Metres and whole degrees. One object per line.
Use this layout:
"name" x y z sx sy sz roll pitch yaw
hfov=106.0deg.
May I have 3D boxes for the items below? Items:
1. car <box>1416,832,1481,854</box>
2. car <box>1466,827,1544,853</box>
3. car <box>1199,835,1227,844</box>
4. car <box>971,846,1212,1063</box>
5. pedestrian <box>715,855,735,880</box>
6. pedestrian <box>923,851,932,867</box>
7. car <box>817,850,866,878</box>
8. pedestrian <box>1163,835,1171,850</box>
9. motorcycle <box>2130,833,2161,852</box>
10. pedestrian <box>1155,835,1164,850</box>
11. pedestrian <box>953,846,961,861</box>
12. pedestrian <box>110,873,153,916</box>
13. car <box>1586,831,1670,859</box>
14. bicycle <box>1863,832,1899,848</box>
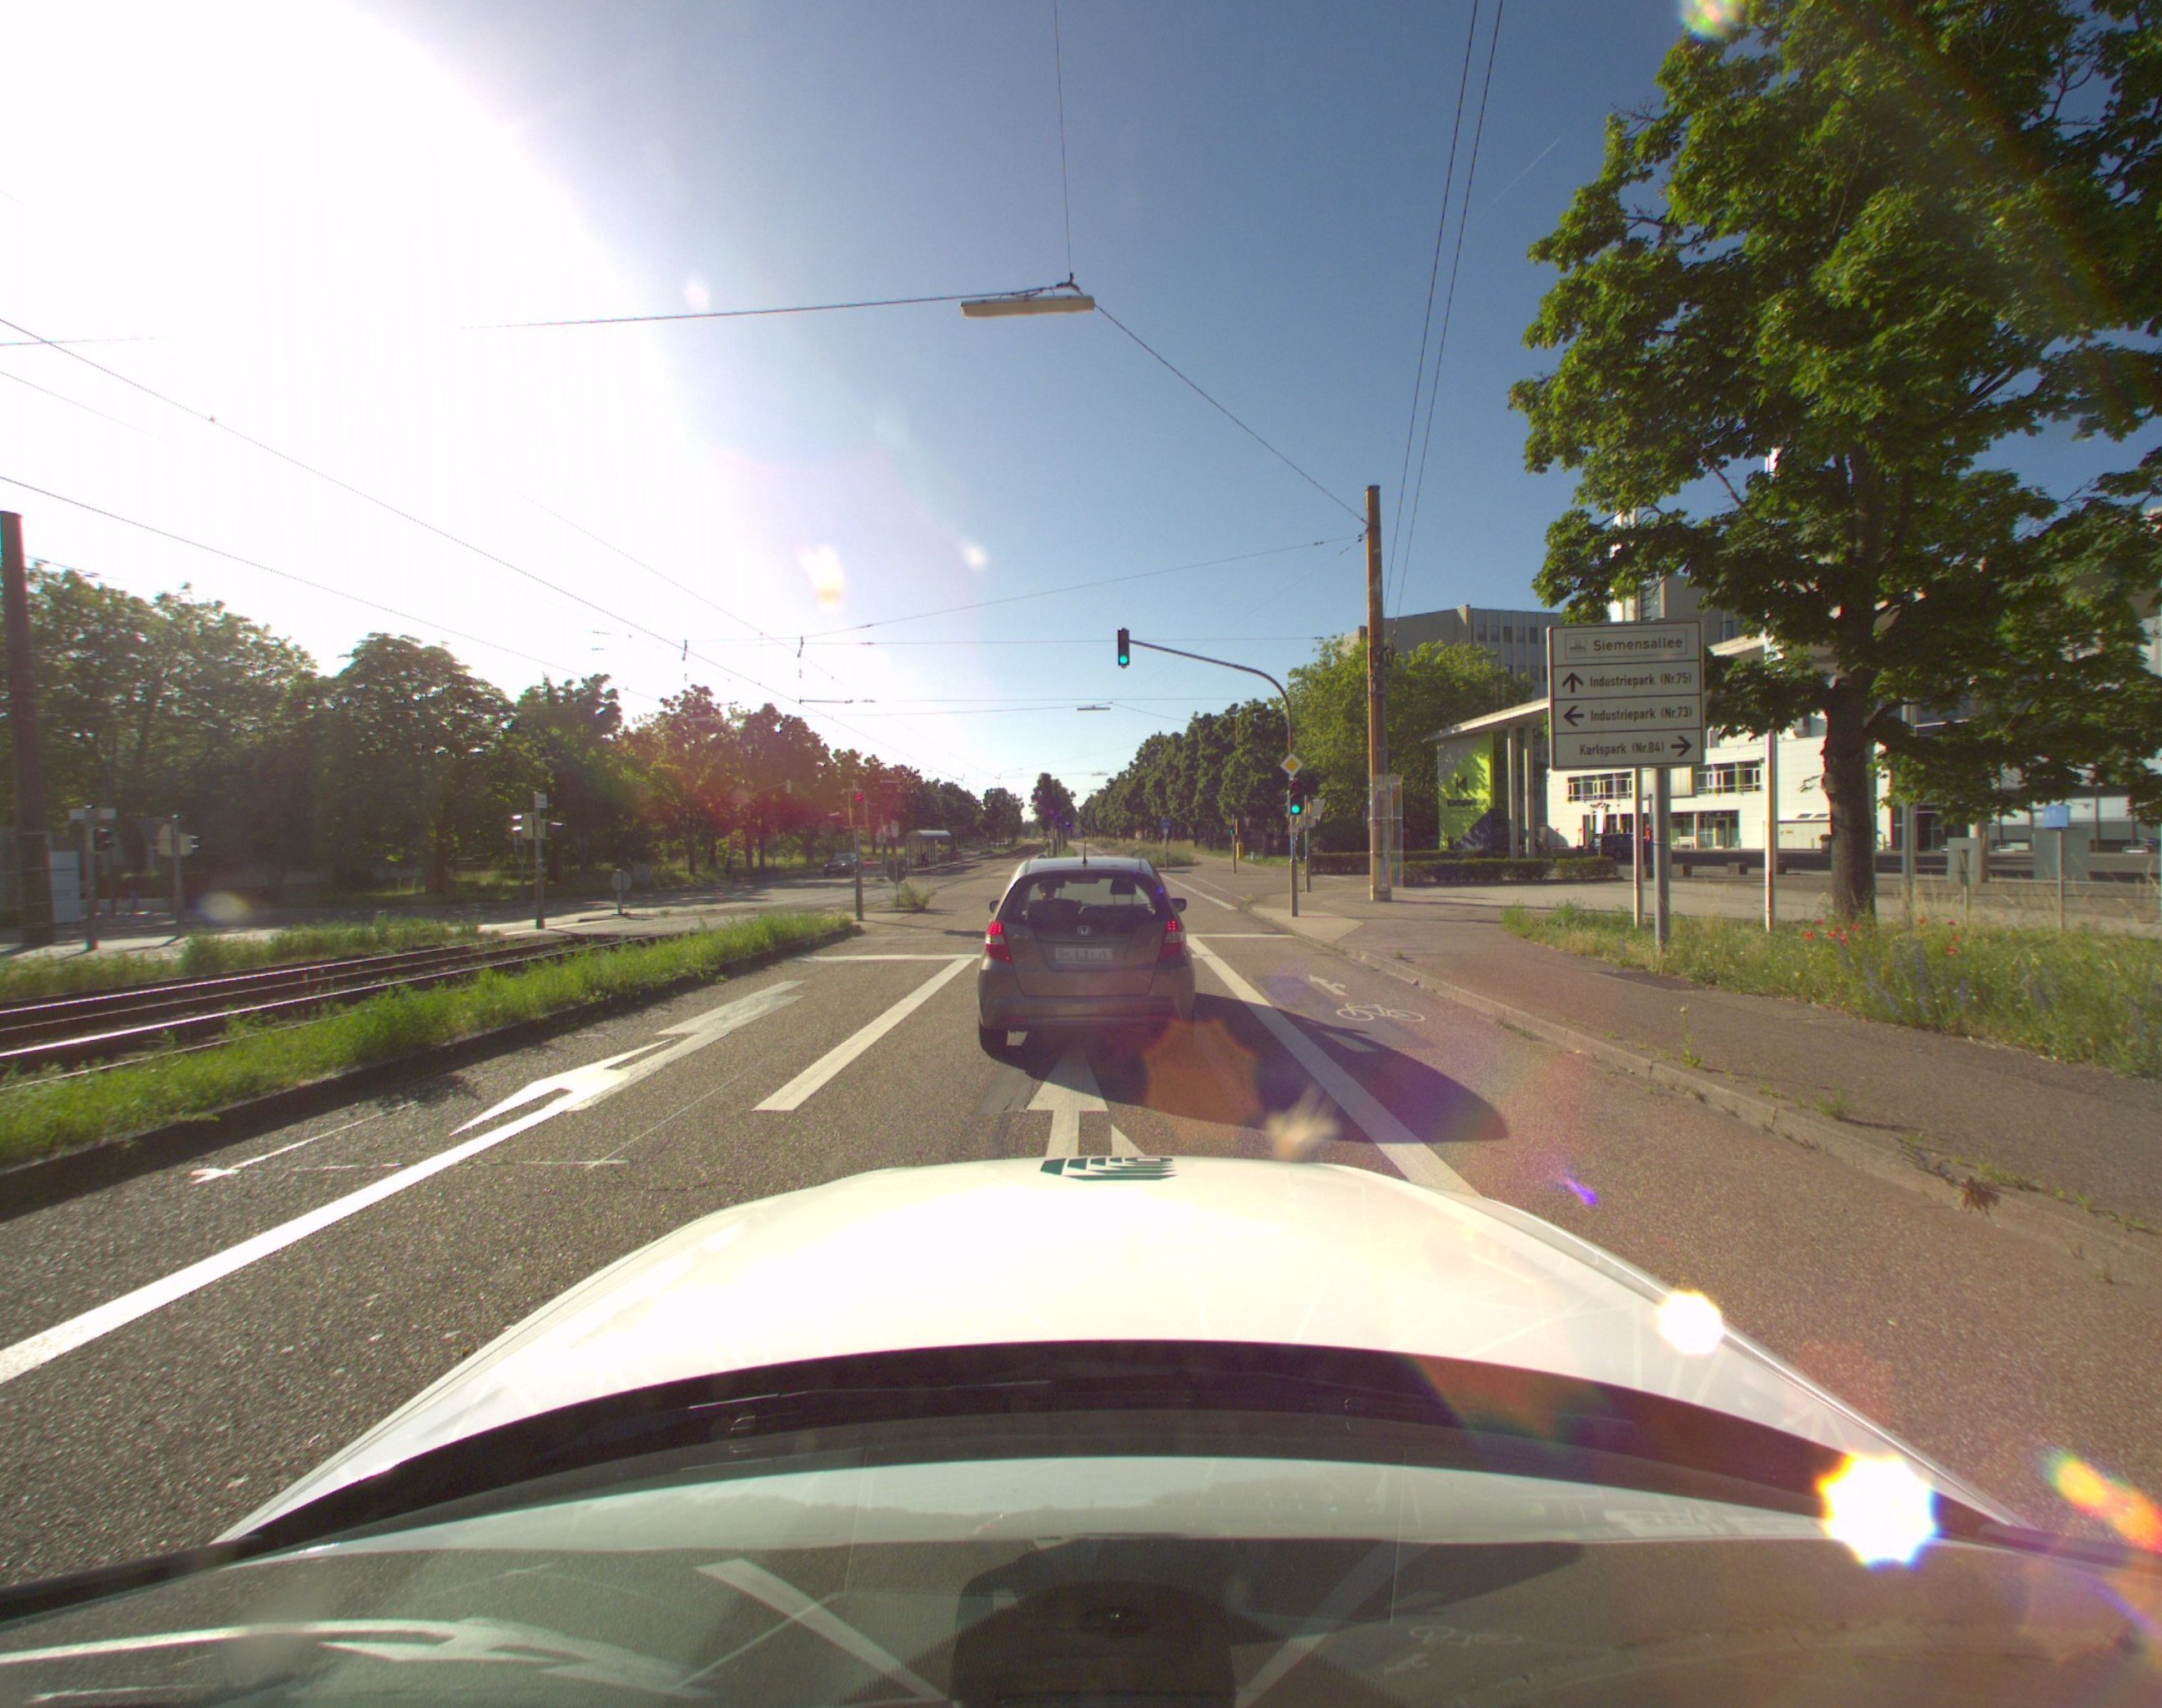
"car" 30.045 -0.922 66.664 4.448 1.686 1.892 -2 1 -4
"car" 31.107 -1.046 59.772 4.888 1.757 2.082 -2 1 -14
"car" 23.369 -2.545 144.246 4.623 1.555 1.997 -2 1 -5
"car" 0.131 0.717 7.640 1.694 1.524 3.711 -1 0 2
"pedestrian" -24.655 0.924 56.416 0.751 1.734 0.943 -1 1 30
"pedestrian" -12.445 0.382 66.010 0.562 1.257 0.581 -4 0 1
"car" -17.824 0.722 60.883 2.087 1.810 4.792 -3 1 0
"pedestrian" 10.835 -1.464 102.839 0.880 1.884 0.875 -2 1 -2
"motorcycle" 54.660 -0.585 41.257 0.652 0.947 1.727 -2 1 -13
"pedestrian" 9.899 -1.457 102.845 0.880 1.884 0.875 -2 1 -2
"pedestrian" -12.266 -0.045 80.579 0.542 1.447 0.559 -2 0 1
"pedestrian" -41.234 1.743 35.364 0.943 1.787 0.824 -2 1 15
"car" 33.319 -0.565 49.642 3.984 1.578 1.949 -1 0 -8
"bicycle" 52.269 -0.896 53.243 0.565 1.004 1.614 -2 1 -13
